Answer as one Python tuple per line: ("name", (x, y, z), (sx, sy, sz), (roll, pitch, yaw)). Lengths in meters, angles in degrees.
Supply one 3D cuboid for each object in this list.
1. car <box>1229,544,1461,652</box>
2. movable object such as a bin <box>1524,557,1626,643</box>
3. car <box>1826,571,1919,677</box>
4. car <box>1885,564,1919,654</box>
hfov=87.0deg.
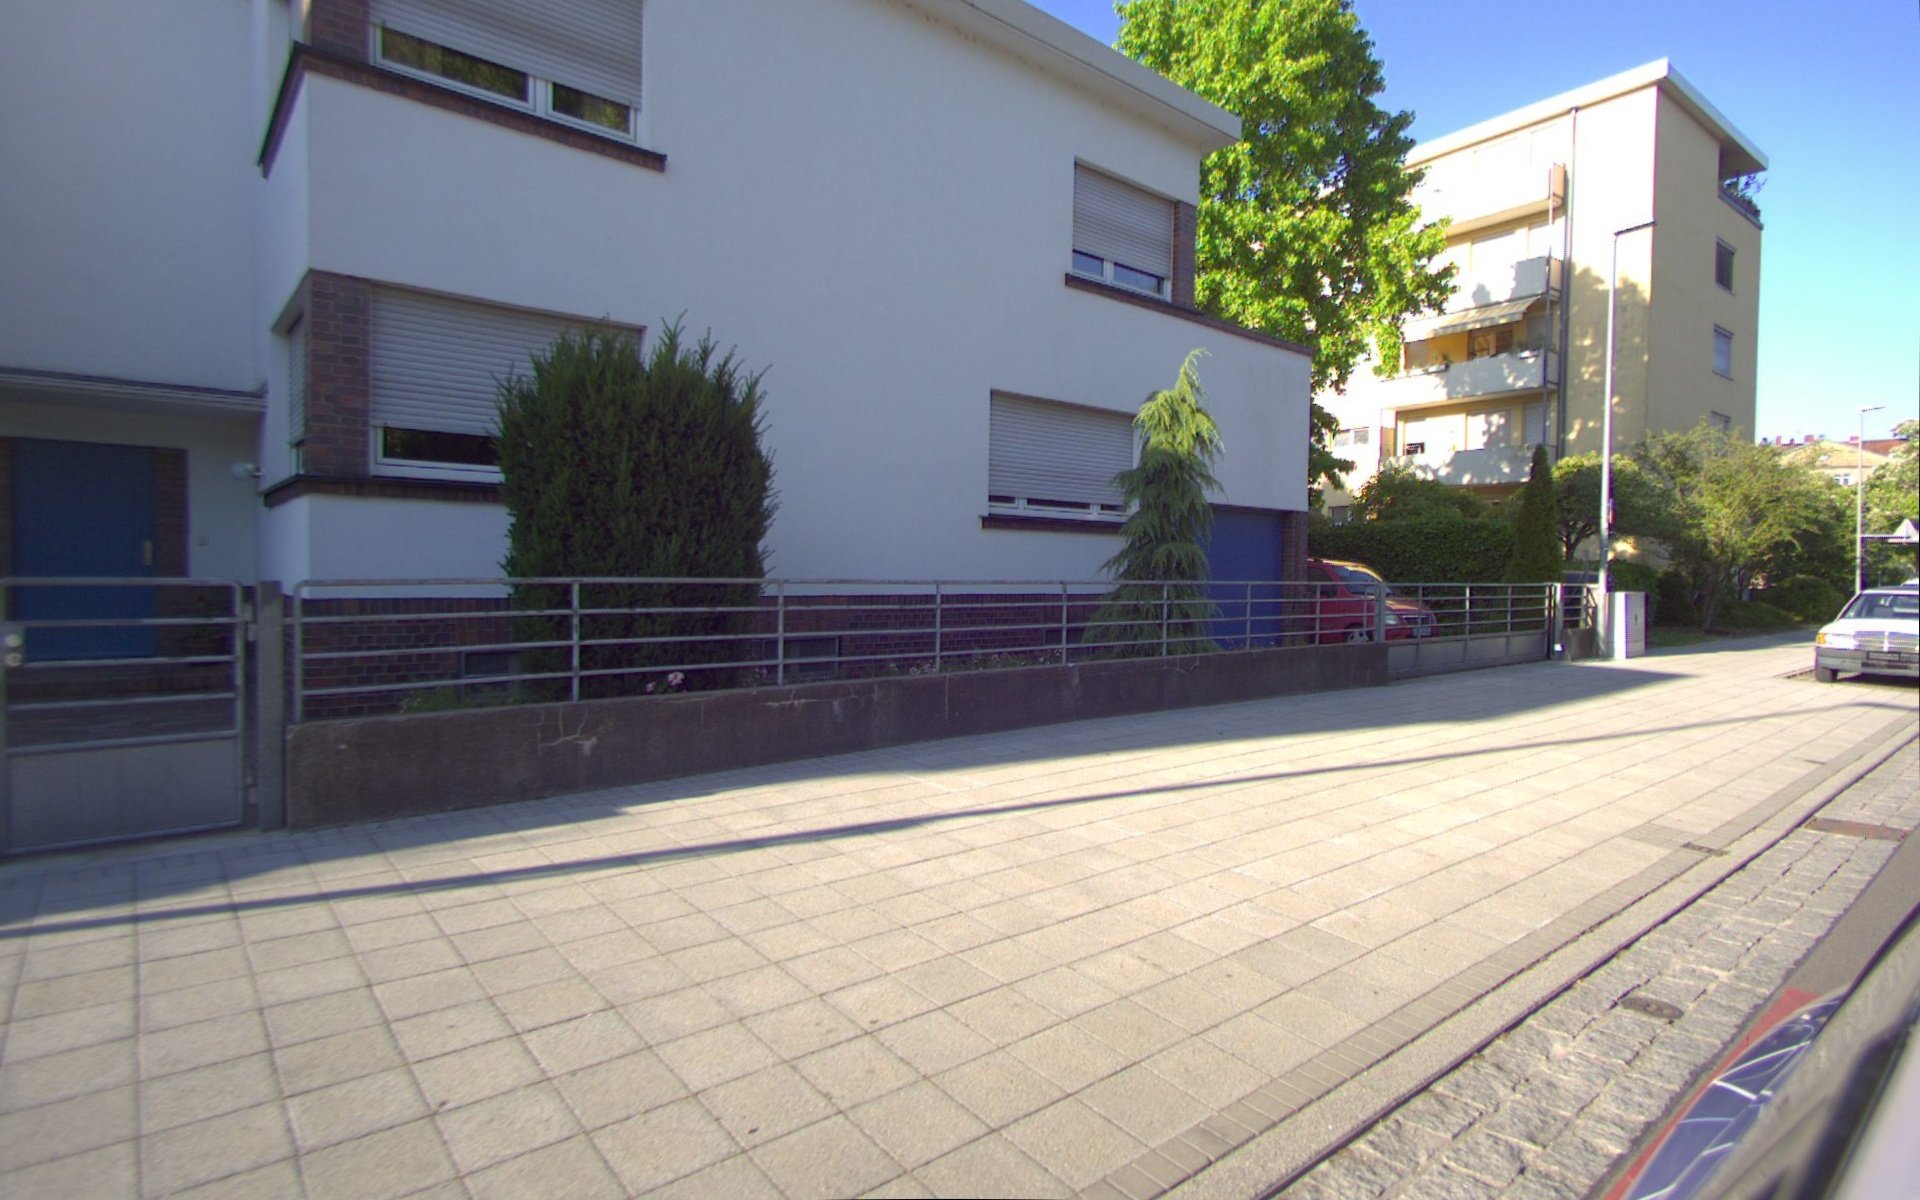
("car", (6.561, -0.085, 17.561), (1.611, 1.662, 3.507), (-1, 2, -32))
("movable object such as a bin", (10.896, -0.018, 17.938), (1.102, 1.450, 1.240), (-1, 1, -38))
("car", (14.511, 0.300, 15.193), (4.297, 1.407, 1.567), (-1, 3, -40))
("car", (18.774, 0.153, 18.823), (4.056, 1.574, 1.683), (-1, 3, -39))
